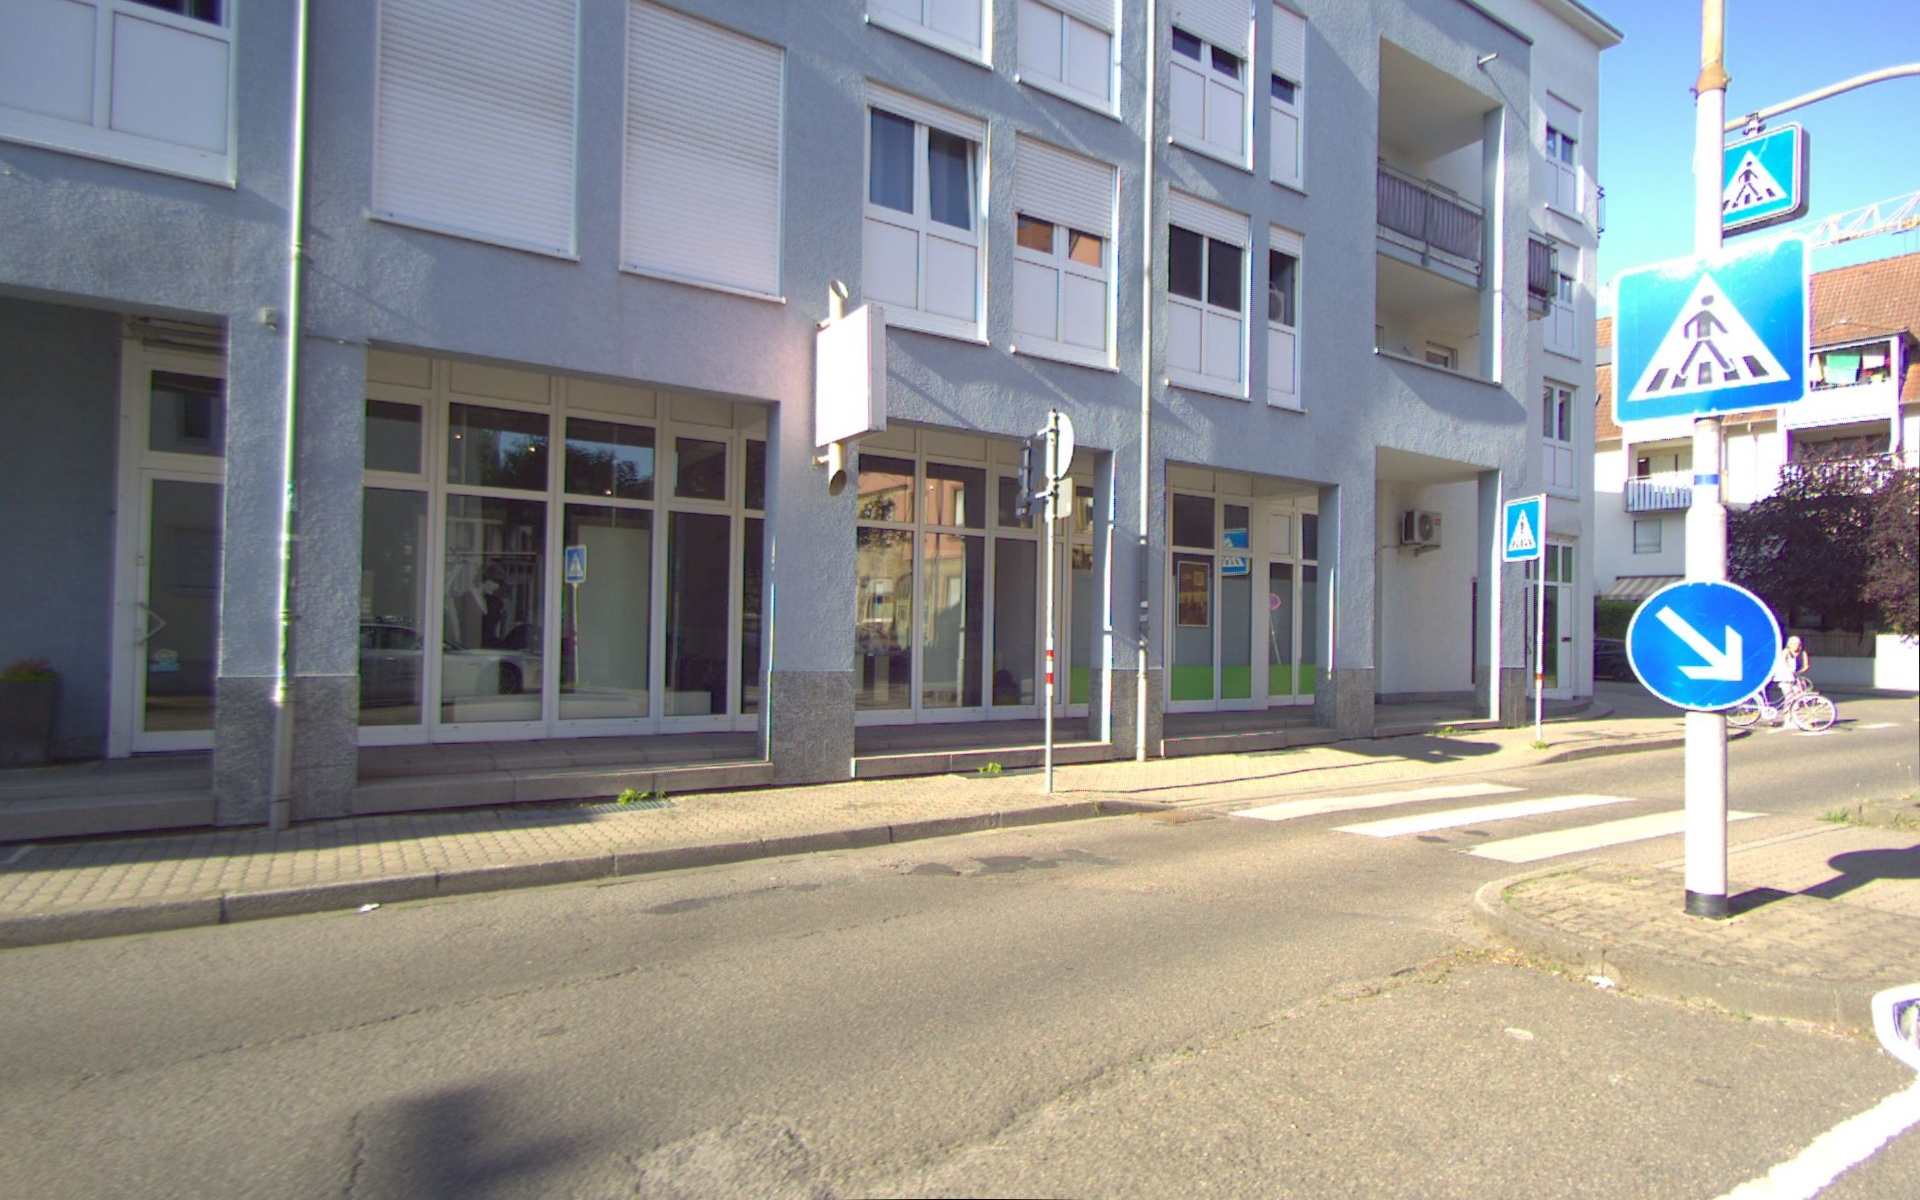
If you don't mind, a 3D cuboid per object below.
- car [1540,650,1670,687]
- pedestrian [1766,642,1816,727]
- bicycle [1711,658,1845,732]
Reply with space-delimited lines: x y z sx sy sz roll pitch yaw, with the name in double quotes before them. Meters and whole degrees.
"car" 22.663 2.378 35.412 1.600 1.196 3.517 1 -3 -35
"pedestrian" 15.007 1.510 18.138 0.596 1.492 0.553 2 -2 -36
"bicycle" 14.635 1.667 18.018 0.592 1.200 1.777 2 -2 -31
